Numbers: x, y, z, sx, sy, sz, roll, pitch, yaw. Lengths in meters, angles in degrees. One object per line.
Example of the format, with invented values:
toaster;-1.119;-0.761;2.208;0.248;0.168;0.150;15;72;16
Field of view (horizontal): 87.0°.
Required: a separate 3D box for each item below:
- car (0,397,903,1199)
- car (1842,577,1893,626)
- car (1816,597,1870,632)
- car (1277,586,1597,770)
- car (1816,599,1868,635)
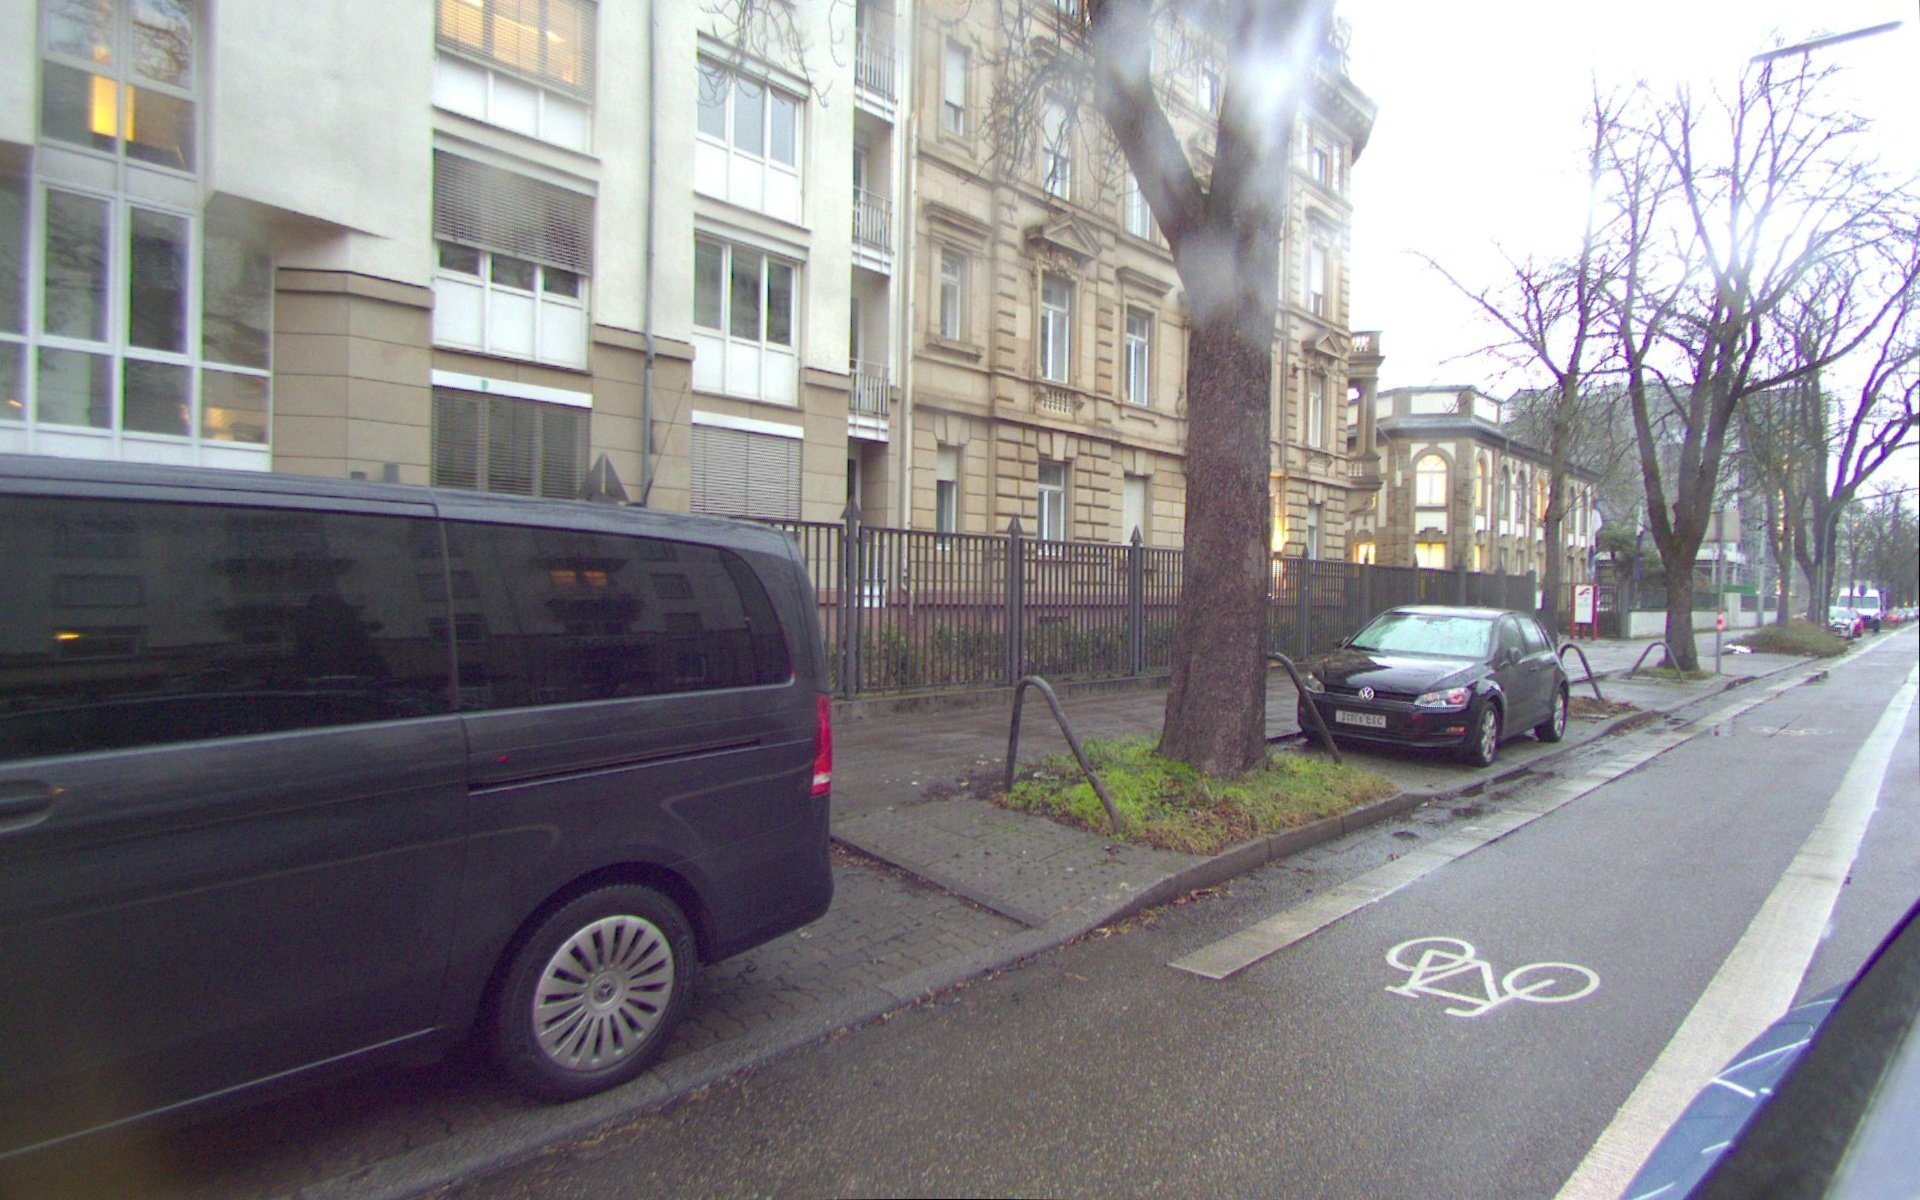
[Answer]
car;-2.665;0.505;2.780;4.882;1.899;2.032;0;2;-45
car;52.115;0.042;58.129;2.086;2.670;5.367;0;1;42
car;44.873;0.698;51.404;1.992;1.703;3.939;0;1;42
car;5.125;0.665;10.592;1.758;1.463;4.091;4;2;44
car;38.345;0.699;43.972;1.623;1.425;3.939;0;1;42
